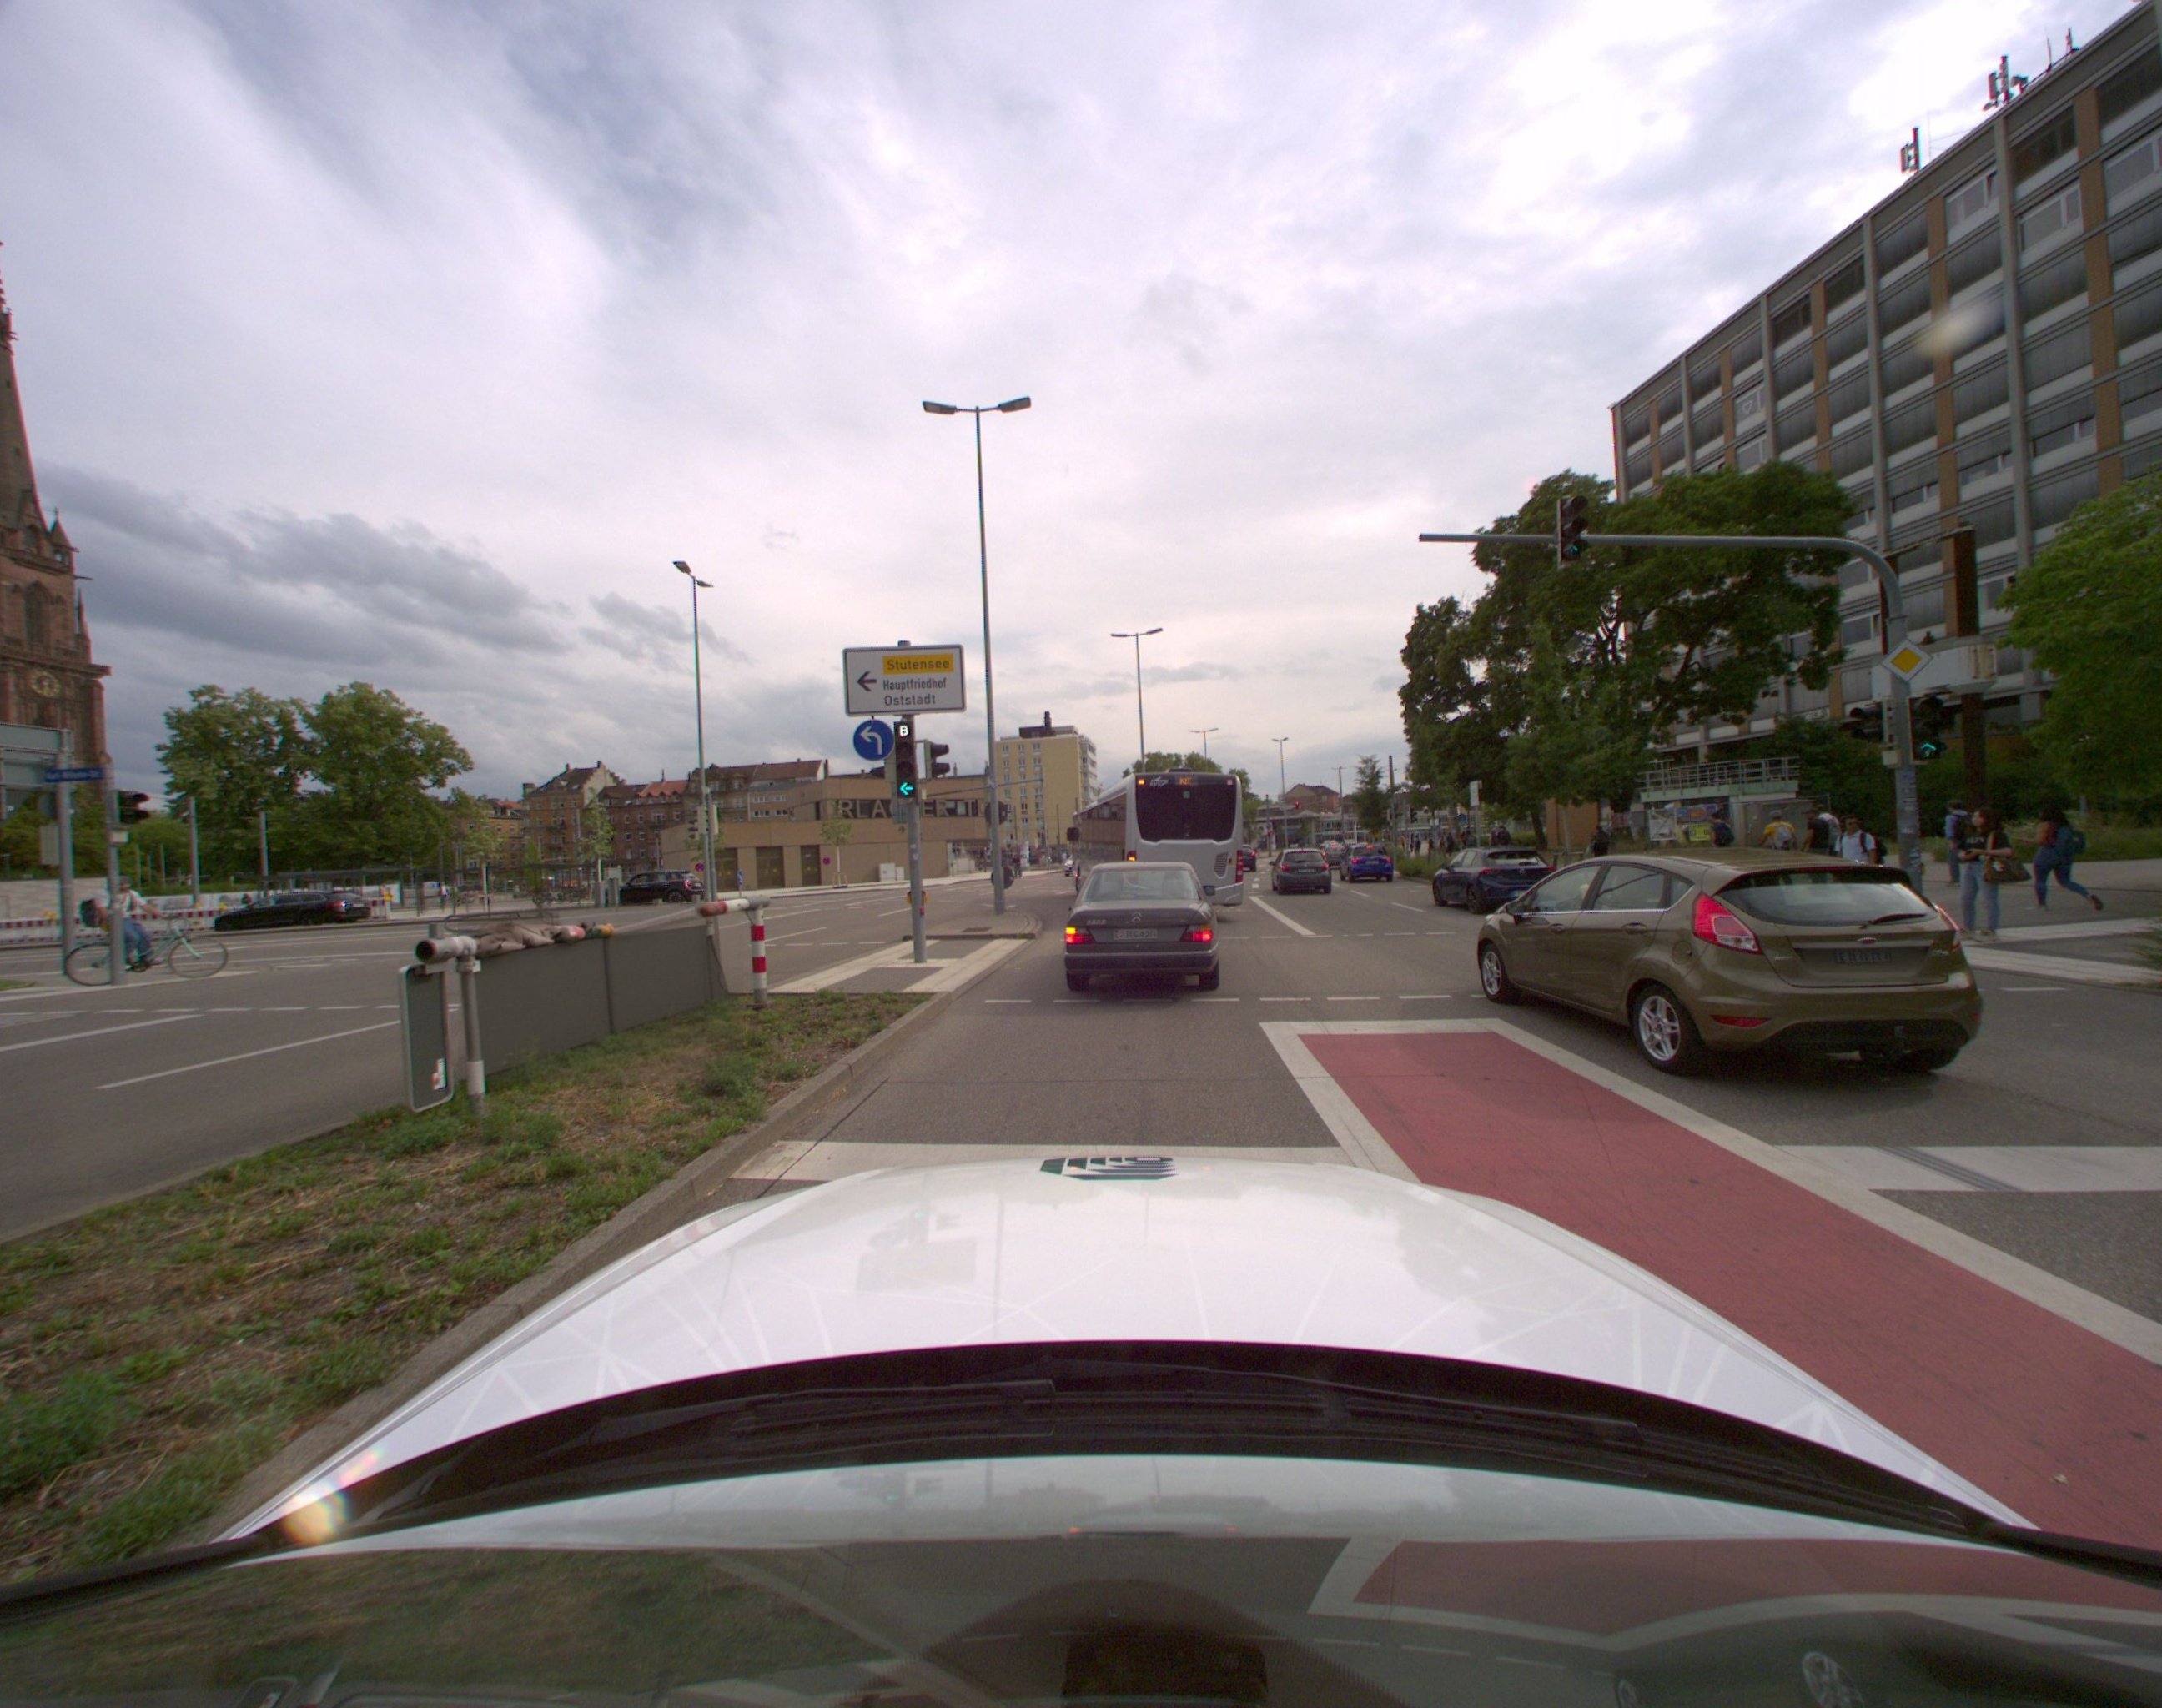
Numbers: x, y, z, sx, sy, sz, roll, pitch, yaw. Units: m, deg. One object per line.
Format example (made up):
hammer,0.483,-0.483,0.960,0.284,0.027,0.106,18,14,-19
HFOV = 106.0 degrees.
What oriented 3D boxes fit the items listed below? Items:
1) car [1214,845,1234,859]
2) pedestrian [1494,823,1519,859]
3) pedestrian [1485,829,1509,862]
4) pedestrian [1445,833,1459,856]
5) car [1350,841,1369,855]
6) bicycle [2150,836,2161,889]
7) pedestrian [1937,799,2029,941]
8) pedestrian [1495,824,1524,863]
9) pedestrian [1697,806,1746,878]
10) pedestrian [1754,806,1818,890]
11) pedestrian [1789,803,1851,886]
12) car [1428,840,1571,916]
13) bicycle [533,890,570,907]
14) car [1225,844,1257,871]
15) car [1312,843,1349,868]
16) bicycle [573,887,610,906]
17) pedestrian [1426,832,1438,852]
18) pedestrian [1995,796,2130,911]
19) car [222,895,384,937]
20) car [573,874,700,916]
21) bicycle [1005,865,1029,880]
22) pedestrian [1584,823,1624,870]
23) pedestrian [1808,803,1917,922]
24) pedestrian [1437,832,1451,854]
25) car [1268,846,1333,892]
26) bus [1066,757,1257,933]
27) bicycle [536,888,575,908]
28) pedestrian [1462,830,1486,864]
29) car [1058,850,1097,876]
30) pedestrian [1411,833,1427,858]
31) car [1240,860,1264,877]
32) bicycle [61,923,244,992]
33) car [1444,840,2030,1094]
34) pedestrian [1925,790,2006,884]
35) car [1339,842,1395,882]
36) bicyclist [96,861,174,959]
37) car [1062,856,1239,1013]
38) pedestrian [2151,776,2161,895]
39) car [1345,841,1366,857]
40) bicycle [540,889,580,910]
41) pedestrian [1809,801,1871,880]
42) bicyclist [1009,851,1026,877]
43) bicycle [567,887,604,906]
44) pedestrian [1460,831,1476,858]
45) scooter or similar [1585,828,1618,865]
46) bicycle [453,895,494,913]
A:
car,17.366,-0.201,98.878,1.979,1.651,4.530,-1,0,15
pedestrian,20.869,-0.642,39.927,0.774,1.711,0.813,-1,-1,3
pedestrian,21.381,-0.429,41.856,0.774,1.711,0.813,-1,-1,3
pedestrian,26.391,-0.705,57.996,0.770,1.574,0.817,-5,-1,26
car,28.486,-0.587,83.370,1.689,1.420,3.719,-1,0,20
bicycle,14.332,0.097,9.694,0.837,0.694,1.847,-1,0,4
pedestrian,11.295,0.197,10.214,0.477,1.711,0.589,-1,-1,6
pedestrian,19.425,-0.468,36.932,0.774,1.711,1.029,-1,-1,3
pedestrian,16.996,-0.309,21.619,0.635,1.852,0.709,-3,-1,3
pedestrian,14.958,-0.125,17.299,0.635,1.711,0.709,-4,-1,3
pedestrian,15.647,-0.198,17.263,0.635,1.711,0.709,-1,-1,3
car,9.296,0.498,18.422,1.658,1.508,3.640,-1,0,6
bicycle,-34.962,2.940,53.821,1.977,0.970,0.577,-1,-1,-41
car,9.926,0.217,50.585,1.823,1.615,3.555,-1,0,9
car,15.586,0.087,50.907,2.115,1.420,3.717,-1,0,17
bicycle,-31.839,2.774,53.002,0.577,1.156,1.978,-2,-1,43
pedestrian,28.688,-0.990,66.511,0.770,1.574,0.817,-5,-1,26
pedestrian,14.208,-0.009,11.815,0.833,1.543,0.800,-5,-1,3
car,-30.115,2.380,31.631,4.248,1.361,1.999,-1,0,-2
car,-17.393,1.576,32.097,3.993,1.486,1.990,-1,0,-15
bicycle,-4.053,1.165,51.602,0.857,0.876,2.526,-1,0,10
pedestrian,18.263,-0.246,28.436,0.774,1.574,0.813,-4,-1,3
pedestrian,11.666,0.129,12.186,0.793,1.711,0.841,-1,-1,6
pedestrian,26.701,-0.788,59.906,0.770,1.574,0.817,-5,-1,26
car,7.301,0.476,27.380,1.700,1.420,4.011,-1,0,9
bus,1.545,-0.101,23.800,2.701,3.438,14.156,-4,0,-5
bicycle,-33.447,2.803,51.854,0.577,1.156,1.978,-2,-1,43
pedestrian,20.107,-0.353,41.682,0.774,1.711,1.029,-1,-1,3
car,-0.200,0.602,55.630,1.982,1.651,4.301,-1,0,9
pedestrian,22.113,-0.548,53.307,0.770,1.574,0.817,-5,-1,26
car,14.900,1.257,71.162,1.701,1.420,4.009,-1,0,8
bicycle,-15.381,1.686,13.575,0.499,0.936,1.983,-4,-3,44
car,4.555,0.649,6.480,1.689,1.405,3.700,-1,0,0
pedestrian,16.882,-0.321,15.557,0.635,1.711,0.709,-5,-1,3
car,11.623,0.310,33.294,1.844,1.533,4.018,-1,0,15
bicyclist,-15.566,0.907,13.420,0.572,1.555,0.803,-5,-3,44
car,0.694,0.786,10.091,1.689,1.480,4.416,-1,0,0
pedestrian,15.764,-0.273,11.383,0.635,1.711,0.709,-1,-1,3
car,25.858,-0.459,76.696,1.689,1.420,3.719,-1,0,20
bicycle,-31.766,2.754,49.671,0.577,1.156,1.978,-2,-1,43
pedestrian,16.861,-0.295,18.115,0.635,1.711,0.709,-3,-1,3
bicyclist,-4.040,0.634,51.730,0.861,1.669,0.883,-1,-1,9
bicycle,-32.864,2.802,54.011,0.577,1.156,1.978,-2,-1,43
pedestrian,23.073,-0.563,48.549,0.770,1.574,0.817,-5,-1,26
scooter or similar,19.904,-0.271,31.158,0.397,1.370,1.144,-1,-1,-9
bicycle,-37.383,3.067,50.123,1.977,0.955,0.577,-1,-1,-41
